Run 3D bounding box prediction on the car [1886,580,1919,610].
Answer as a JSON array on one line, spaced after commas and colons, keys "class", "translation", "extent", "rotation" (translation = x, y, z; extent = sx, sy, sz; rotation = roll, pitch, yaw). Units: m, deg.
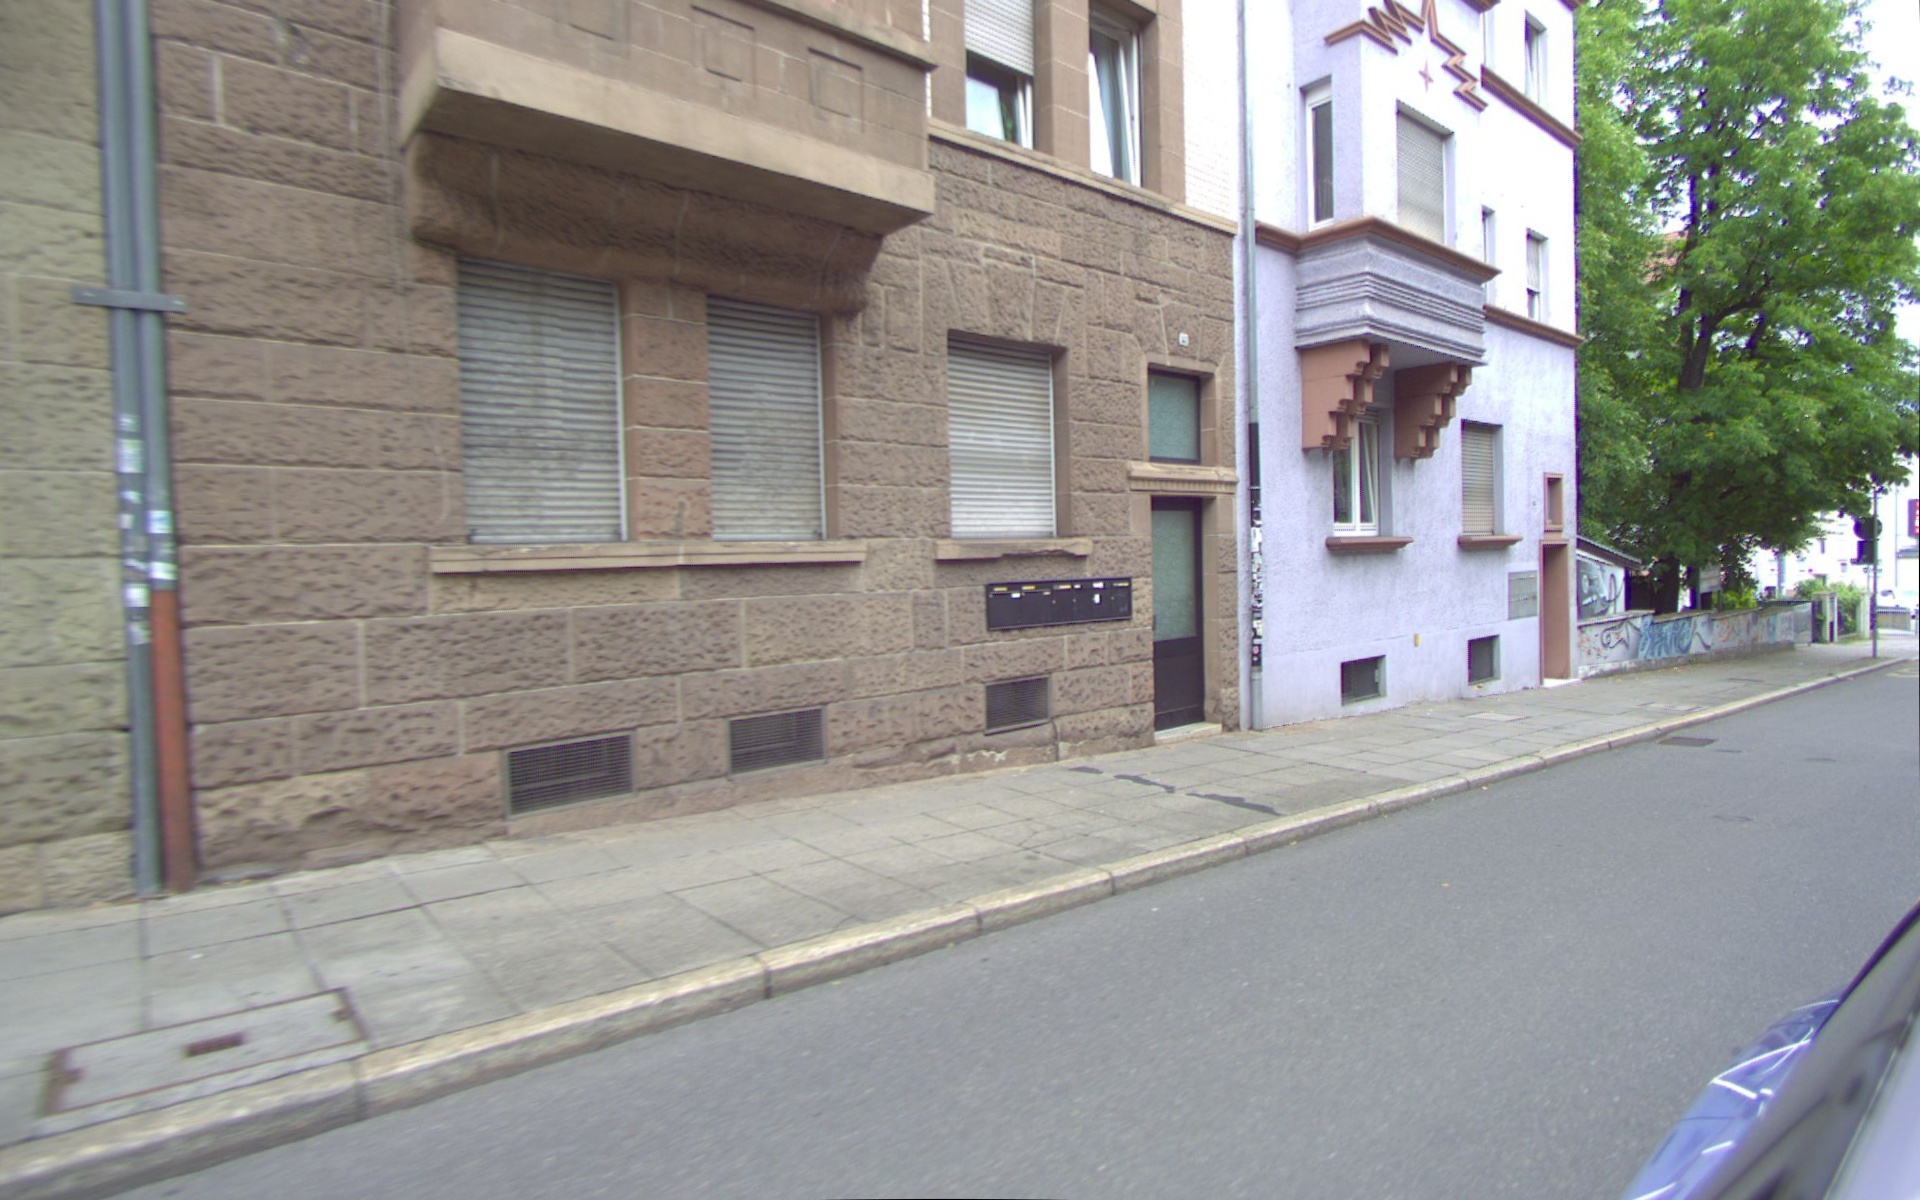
[{"class": "car", "translation": [51.446, -0.267, 54.003], "extent": [1.935, 1.570, 3.998], "rotation": [-1, 0, 27]}]
